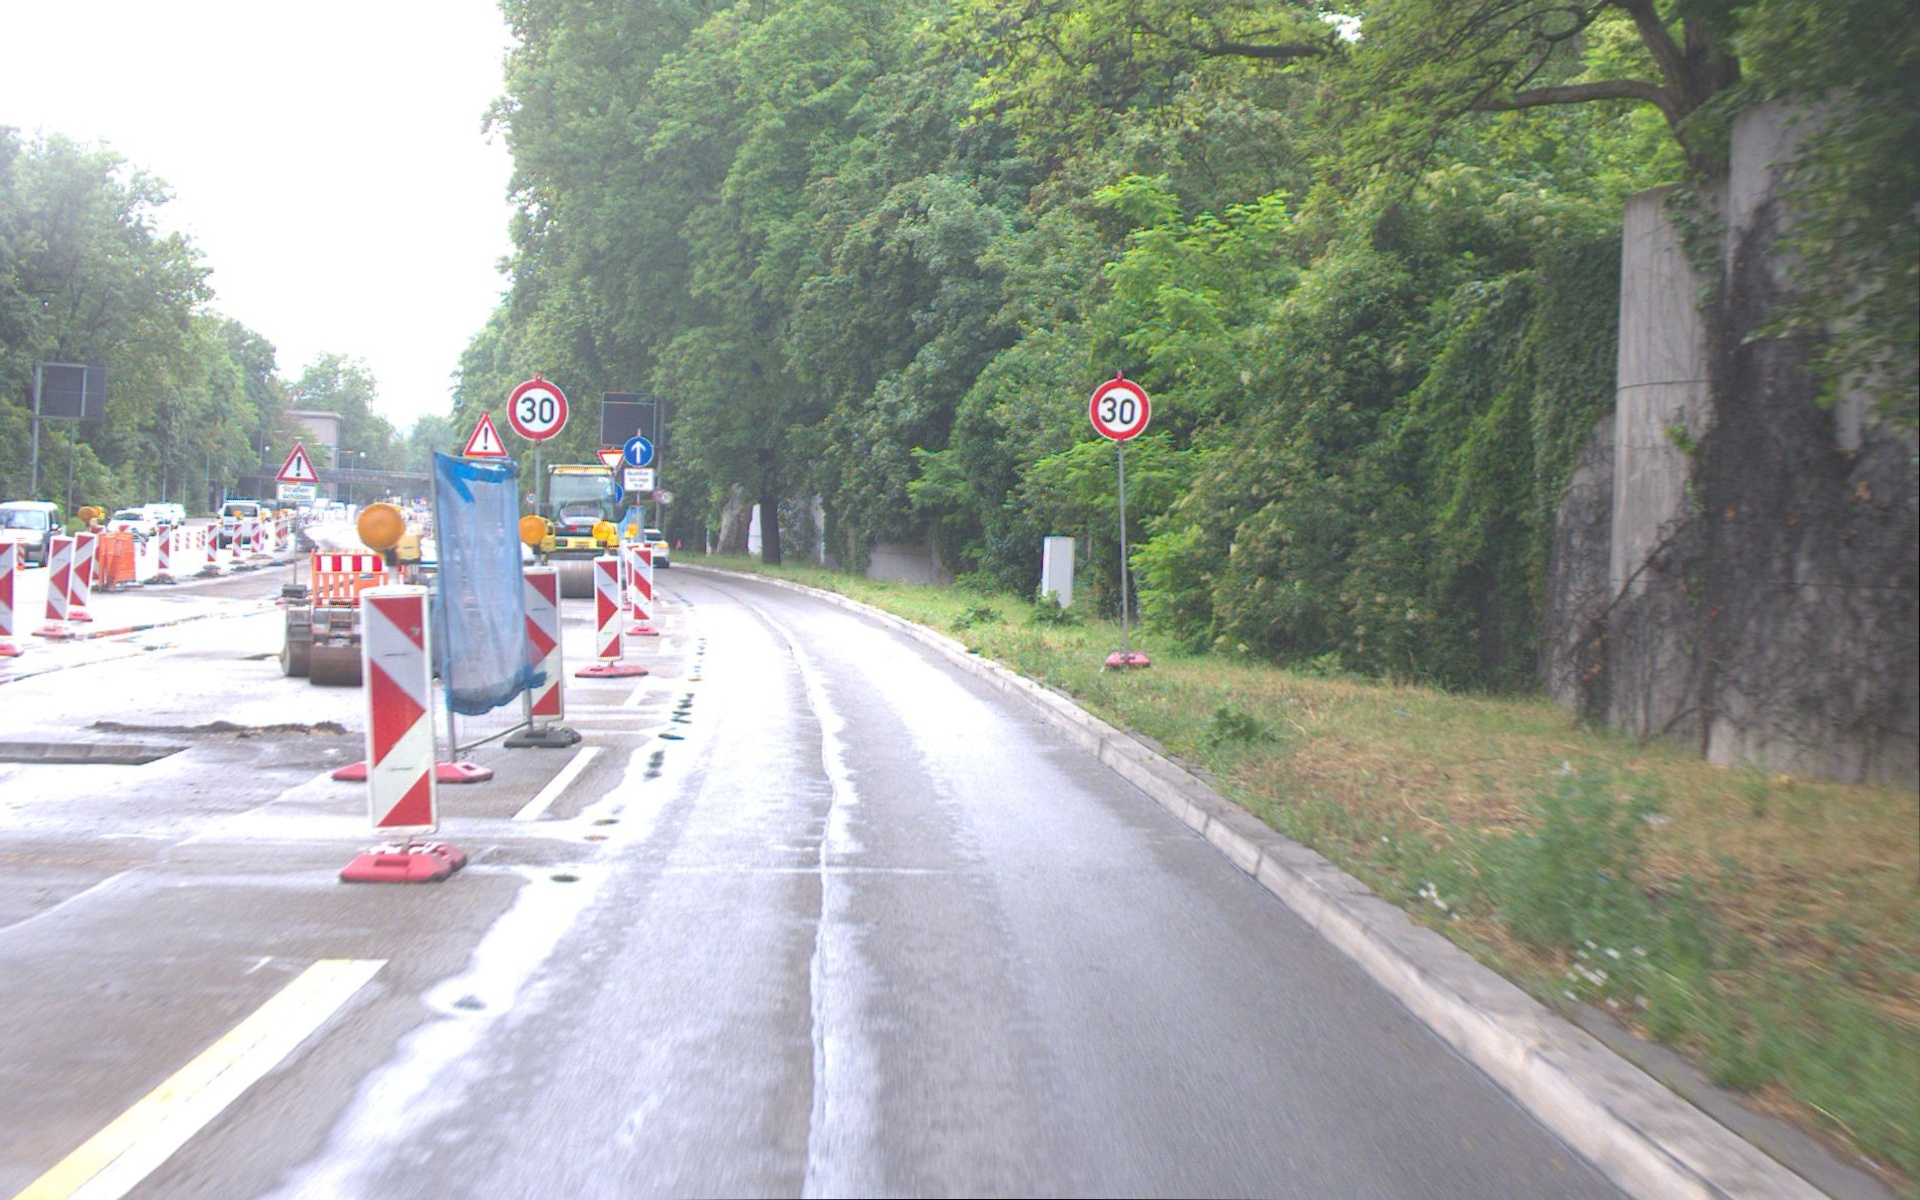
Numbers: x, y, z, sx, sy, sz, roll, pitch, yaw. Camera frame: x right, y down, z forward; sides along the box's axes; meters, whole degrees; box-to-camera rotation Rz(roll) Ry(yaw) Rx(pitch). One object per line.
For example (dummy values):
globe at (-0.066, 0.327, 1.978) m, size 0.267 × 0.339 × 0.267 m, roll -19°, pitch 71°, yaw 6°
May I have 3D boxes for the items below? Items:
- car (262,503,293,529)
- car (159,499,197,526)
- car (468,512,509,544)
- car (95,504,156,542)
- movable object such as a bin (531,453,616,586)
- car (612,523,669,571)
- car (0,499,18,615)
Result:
car at (-44.817, -5.524, 225.848) m, size 1.564 × 1.452 × 3.381 m, roll 4°, pitch 2°, yaw -17°
car at (-50.048, -5.615, 220.211) m, size 1.927 × 1.659 × 4.654 m, roll 1°, pitch 1°, yaw -8°
car at (-26.552, -4.049, 193.803) m, size 1.875 × 1.612 × 4.001 m, roll 4°, pitch 2°, yaw -4°
car at (-38.560, -3.566, 158.868) m, size 1.927 × 1.659 × 4.653 m, roll 1°, pitch 1°, yaw -3°
movable object such as a bin at (-8.563, -1.795, 76.367) m, size 1.746 × 2.857 × 3.535 m, roll 1°, pitch 1°, yaw -5°
car at (-11.890, -1.997, 128.163) m, size 1.914 × 1.592 × 4.835 m, roll 2°, pitch 2°, yaw -4°
car at (-13.553, -0.525, 44.559) m, size 1.862 × 1.486 × 4.002 m, roll 3°, pitch 4°, yaw -5°
